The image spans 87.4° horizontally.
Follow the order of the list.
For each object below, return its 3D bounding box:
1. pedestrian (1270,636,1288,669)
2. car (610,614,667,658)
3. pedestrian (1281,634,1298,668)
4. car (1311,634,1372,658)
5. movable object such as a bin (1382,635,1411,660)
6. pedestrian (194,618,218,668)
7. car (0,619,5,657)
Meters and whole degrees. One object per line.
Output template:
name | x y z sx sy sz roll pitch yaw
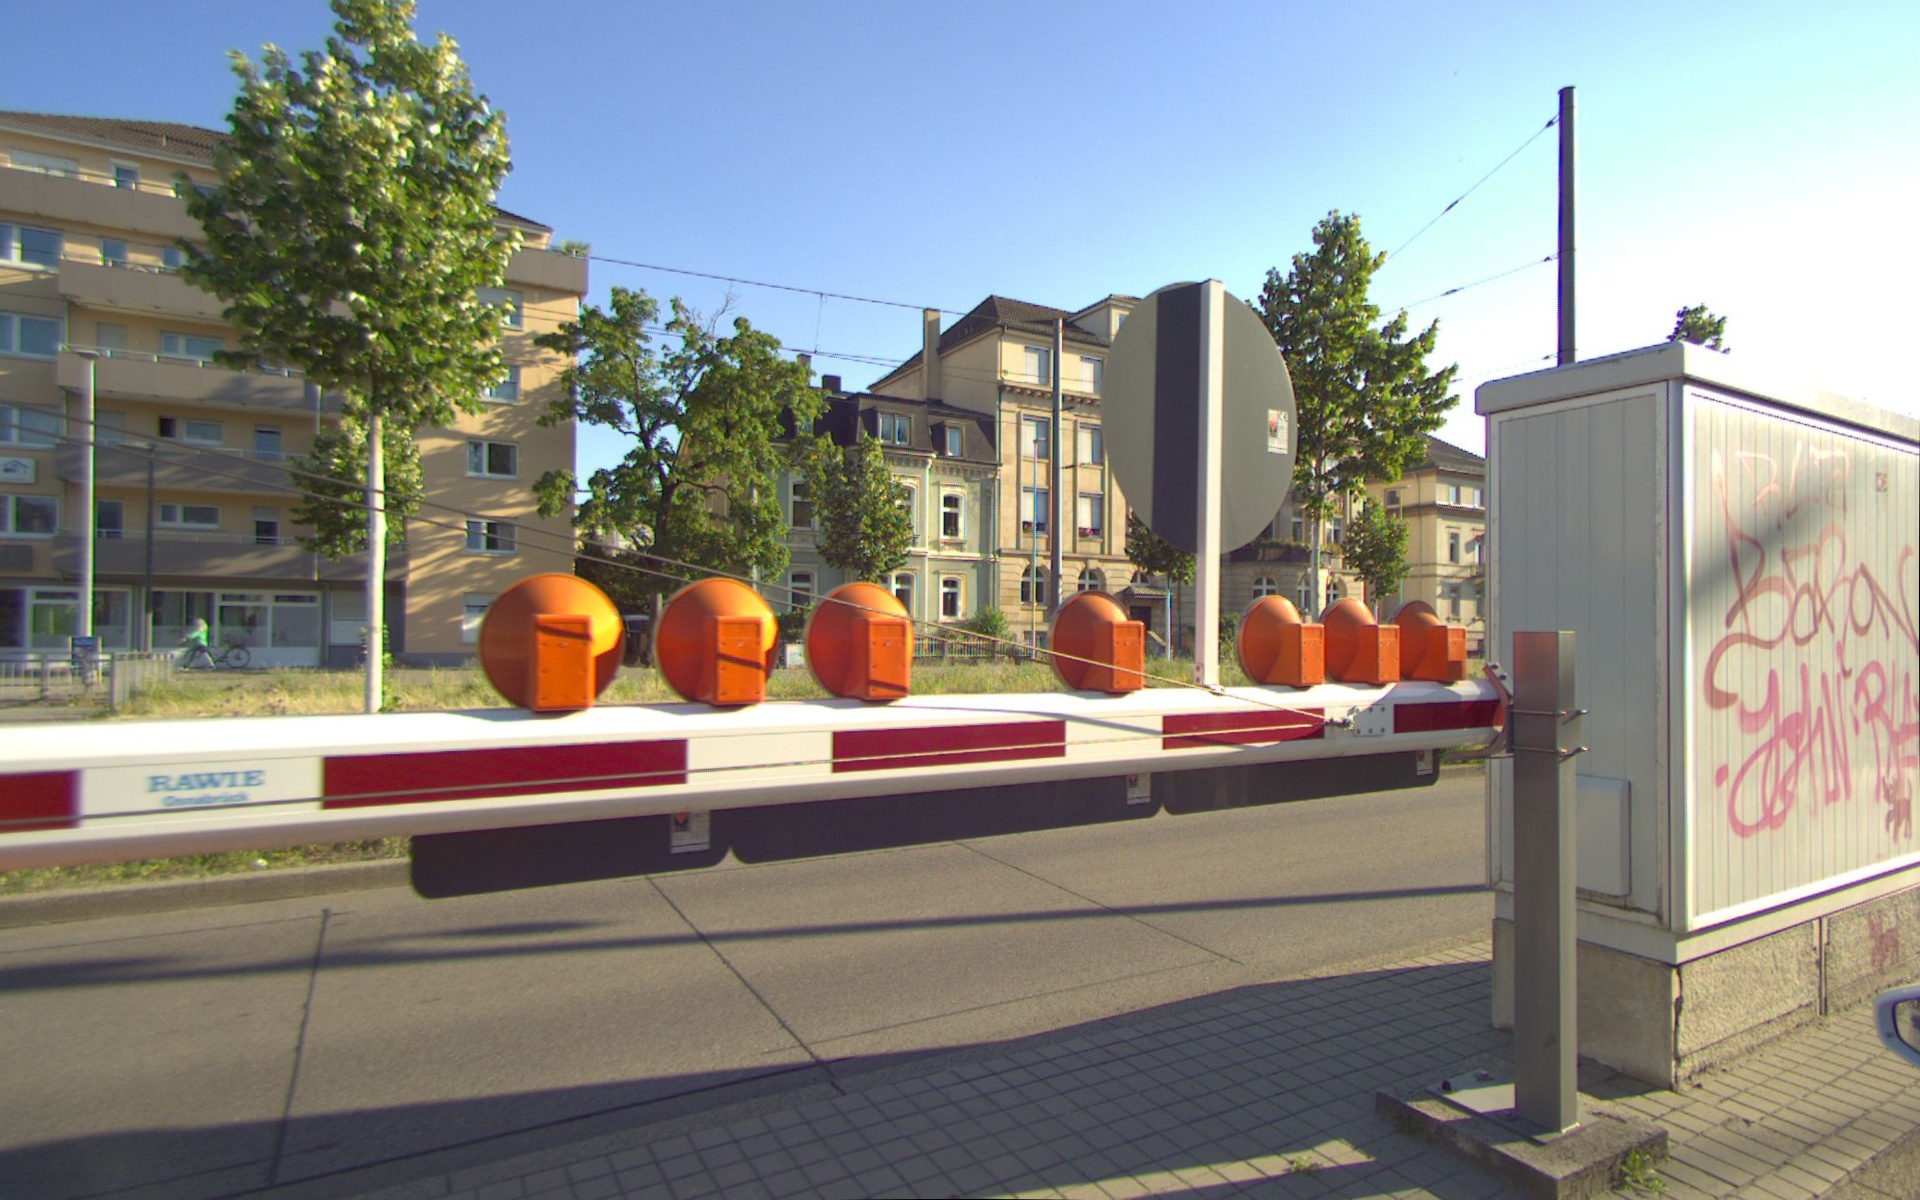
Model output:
pedestrian | 16.804 2.763 52.892 0.645 1.743 0.652 1 -1 -31
car | -15.806 1.726 49.284 1.975 2.073 3.971 1 -1 -28
pedestrian | 17.126 2.666 52.265 0.645 1.743 0.552 1 -1 -31
car | 27.542 3.311 72.639 1.662 1.488 3.970 2 -1 -29
movable object such as a bin | 25.761 2.774 59.312 1.067 1.448 1.199 1 -1 -31
pedestrian | -24.194 1.375 32.236 0.515 1.576 0.445 1 -1 -31
car | -44.644 1.702 44.796 1.976 1.766 3.969 1 -1 -29
